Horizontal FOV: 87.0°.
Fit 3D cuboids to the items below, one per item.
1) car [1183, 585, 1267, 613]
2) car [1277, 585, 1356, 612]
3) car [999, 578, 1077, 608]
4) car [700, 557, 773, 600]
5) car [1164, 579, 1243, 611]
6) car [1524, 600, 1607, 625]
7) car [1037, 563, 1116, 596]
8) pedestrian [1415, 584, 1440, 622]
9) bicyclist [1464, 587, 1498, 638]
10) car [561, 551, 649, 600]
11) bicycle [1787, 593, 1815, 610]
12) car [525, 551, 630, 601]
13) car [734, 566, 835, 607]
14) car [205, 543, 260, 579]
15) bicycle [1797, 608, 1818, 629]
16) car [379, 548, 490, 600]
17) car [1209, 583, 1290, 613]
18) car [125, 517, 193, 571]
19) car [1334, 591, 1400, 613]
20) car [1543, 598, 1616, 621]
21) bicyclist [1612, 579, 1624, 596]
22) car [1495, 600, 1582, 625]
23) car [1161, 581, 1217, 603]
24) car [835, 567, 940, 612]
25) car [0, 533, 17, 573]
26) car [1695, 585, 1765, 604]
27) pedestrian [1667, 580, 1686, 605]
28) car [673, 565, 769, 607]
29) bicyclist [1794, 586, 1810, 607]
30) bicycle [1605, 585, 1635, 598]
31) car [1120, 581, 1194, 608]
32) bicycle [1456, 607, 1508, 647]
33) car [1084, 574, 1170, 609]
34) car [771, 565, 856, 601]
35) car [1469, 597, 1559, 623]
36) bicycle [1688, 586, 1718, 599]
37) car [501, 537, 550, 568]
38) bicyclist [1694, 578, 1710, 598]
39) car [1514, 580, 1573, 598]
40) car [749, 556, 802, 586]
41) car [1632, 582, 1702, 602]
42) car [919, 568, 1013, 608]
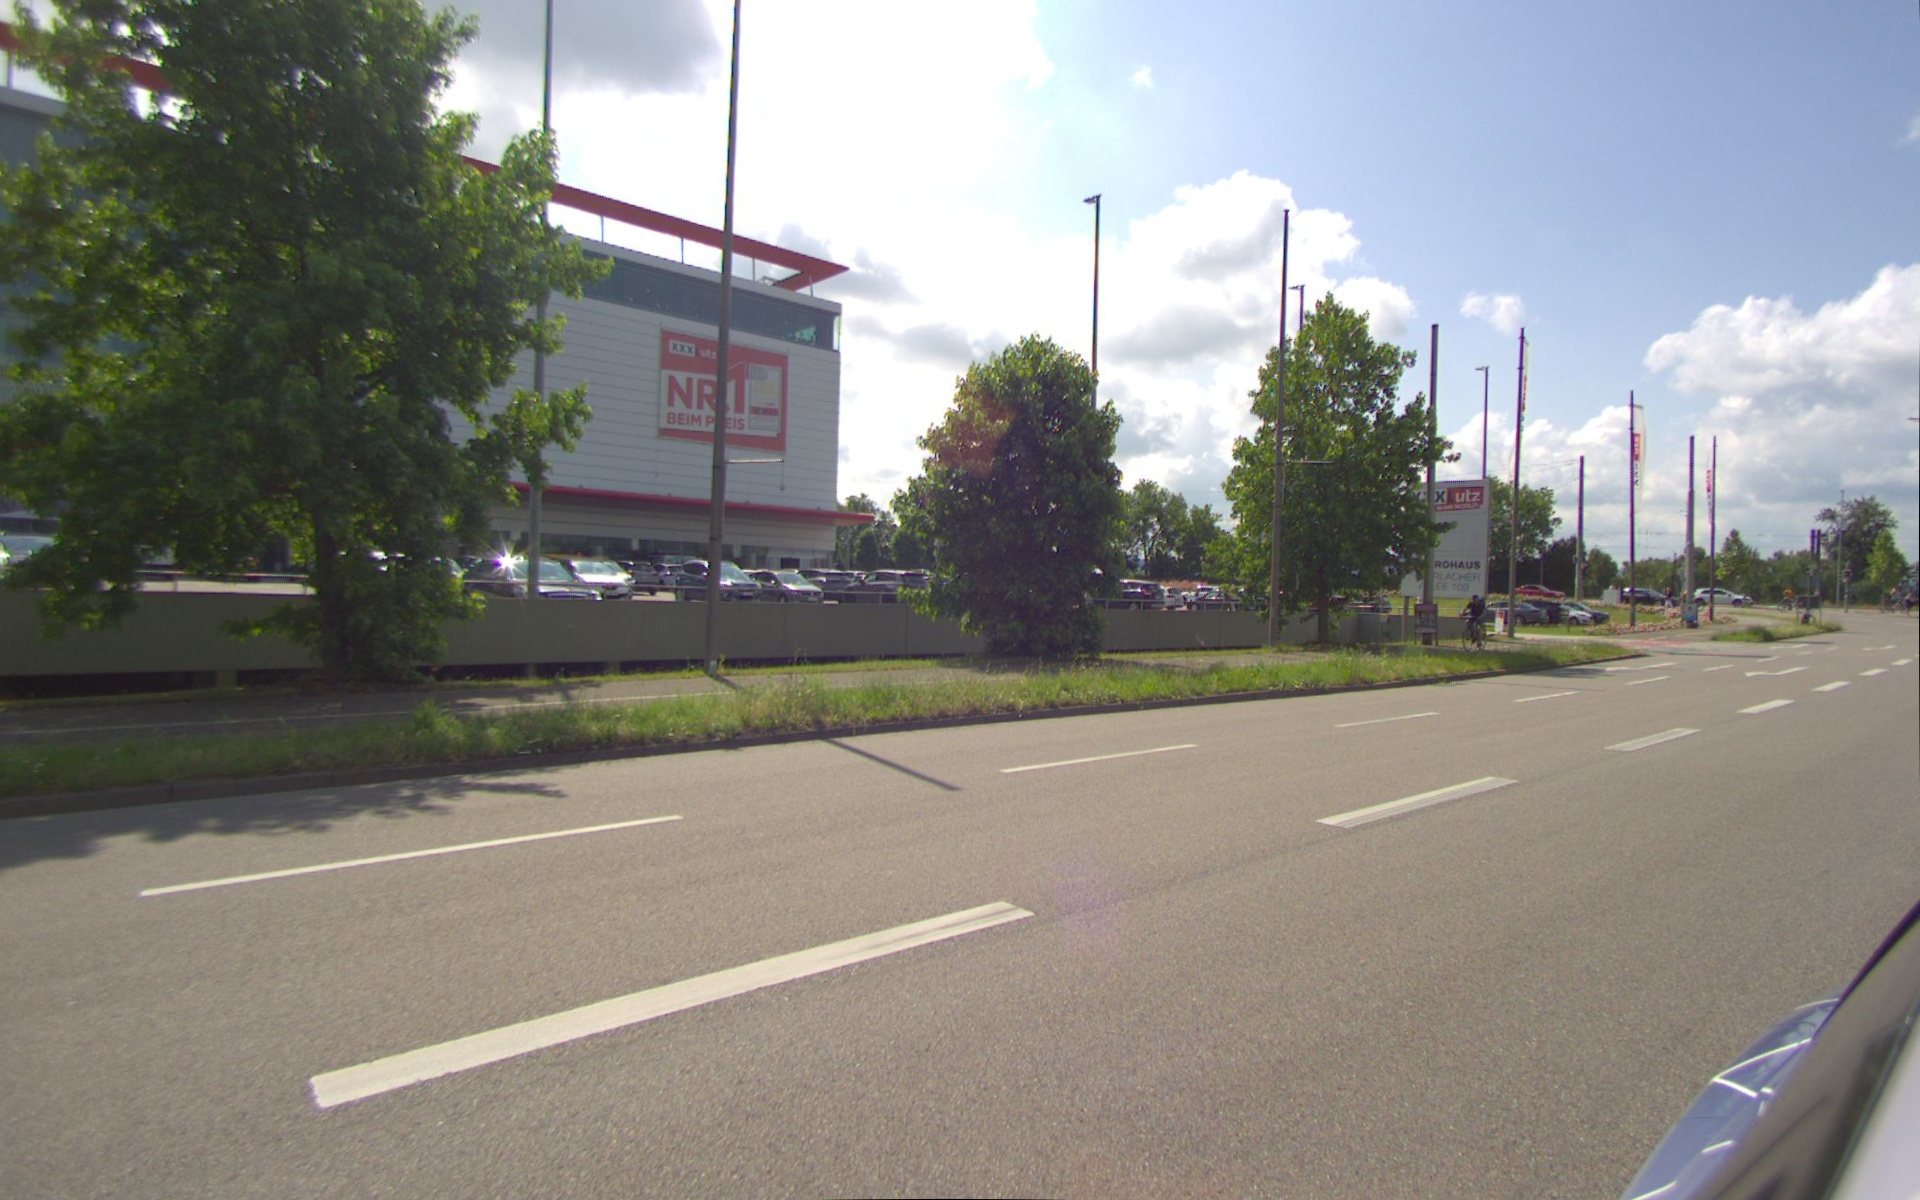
[{"bbox_3d":[15.063,-0.080,57.626,1.813,1.379,4.370,0,3,-39],"label":"car"},{"bbox_3d":[22.464,-0.108,63.859,1.813,1.379,4.370,3,1,-39],"label":"car"},{"bbox_3d":[4.257,-0.413,55.824,1.728,1.445,4.298,3,0,-41],"label":"car"},{"bbox_3d":[-11.438,-1.086,51.659,1.965,2.039,3.994,2,0,-41],"label":"car"},{"bbox_3d":[13.511,-0.275,56.234,1.666,1.608,4.021,3,0,-42],"label":"car"},{"bbox_3d":[39.922,0.805,66.785,1.765,1.458,4.367,1,1,-40],"label":"car"},{"bbox_3d":[11.461,-2.070,100.290,3.065,3.193,7.901,0,2,-38],"label":"car"},{"bbox_3d":[22.687,0.132,49.150,0.856,1.805,0.783,1,-1,5],"label":"pedestrian"},{"bbox_3d":[14.914,0.345,28.957,0.702,1.430,0.616,2,0,-41],"label":"bicyclist"},{"bbox_3d":[-13.921,-0.951,39.582,1.762,1.750,3.992,2,0,-42],"label":"car"},{"bbox_3d":[62.887,0.114,75.664,1.482,1.180,0.618,1,-1,13],"label":"bicycle"},{"bbox_3d":[-12.885,-0.795,33.979,1.966,1.590,3.991,0,1,-43],"label":"car"},{"bbox_3d":[-6.794,-0.542,38.810,1.734,1.341,4.366,2,2,-42],"label":"car"},{"bbox_3d":[-31.535,-1.638,43.833,1.600,1.438,3.573,2,0,-41],"label":"car"},{"bbox_3d":[39.794,0.849,47.513,1.517,0.964,0.518,0,1,-42],"label":"bicycle"},{"bbox_3d":[-16.003,-0.811,30.729,1.861,1.406,4.188,2,2,-44],"label":"car"},{"bbox_3d":[16.913,-0.130,59.321,1.597,1.460,4.370,3,1,-39],"label":"car"},{"bbox_3d":[-32.609,-2.205,41.168,1.965,1.976,3.994,2,0,-41],"label":"car"},{"bbox_3d":[32.068,0.139,79.831,2.012,1.426,4.370,2,2,-39],"label":"car"},{"bbox_3d":[42.970,0.653,70.217,1.687,1.436,3.992,0,2,-42],"label":"car"},{"bbox_3d":[52.580,-1.005,80.845,0.685,1.342,0.584,1,-1,42],"label":"bicyclist"},{"bbox_3d":[36.099,0.750,63.180,1.824,1.434,4.367,0,1,-41],"label":"car"},{"bbox_3d":[18.834,-0.655,83.352,1.821,1.607,4.231,2,2,-43],"label":"car"},{"bbox_3d":[-3.018,-0.448,41.607,1.995,1.593,4.366,2,2,-42],"label":"car"},{"bbox_3d":[-36.928,-1.769,38.084,1.876,1.452,3.802,2,0,-41],"label":"car"},{"bbox_3d":[65.246,-0.438,85.776,1.981,1.430,4.487,1,2,-44],"label":"car"},{"bbox_3d":[54.057,-0.578,76.364,0.857,1.787,0.855,5,0,25],"label":"pedestrian"},{"bbox_3d":[-8.783,-0.528,36.993,1.658,1.341,4.192,1,2,-41],"label":"car"},{"bbox_3d":[62.928,-0.274,75.669,0.687,1.555,0.617,1,-1,16],"label":"bicyclist"},{"bbox_3d":[52.663,-0.658,80.755,1.980,0.973,0.588,1,0,42],"label":"bicycle"},{"bbox_3d":[11.920,-0.357,61.447,1.793,1.527,4.157,2,0,-40],"label":"car"},{"bbox_3d":[14.957,0.777,29.002,1.933,1.081,0.624,1,1,-41],"label":"bicycle"},{"bbox_3d":[8.402,-0.442,51.080,1.713,1.550,4.058,0,3,-44],"label":"car"},{"bbox_3d":[-6.674,-0.770,45.809,1.730,1.482,4.245,2,0,-42],"label":"car"},{"bbox_3d":[32.737,0.571,59.894,1.823,1.495,4.368,0,0,-39],"label":"car"},{"bbox_3d":[56.940,-0.572,77.573,1.669,0.973,0.664,1,0,10],"label":"bicycle"},{"bbox_3d":[-26.123,-2.820,60.829,1.594,1.673,3.588,2,0,-42],"label":"car"},{"bbox_3d":[56.897,-0.923,77.594,0.731,1.494,0.649,1,-1,10],"label":"bicyclist"},{"bbox_3d":[51.852,-0.978,89.912,4.238,1.377,1.721,4,3,45],"label":"car"},{"bbox_3d":[-13.493,-2.083,73.873,1.966,2.039,3.992,2,0,-42],"label":"car"},{"bbox_3d":[56.878,-0.671,81.452,1.877,1.501,4.210,0,2,-25],"label":"car"},{"bbox_3d":[0.220,-0.544,44.981,1.734,1.571,4.189,2,2,-42],"label":"car"}]
